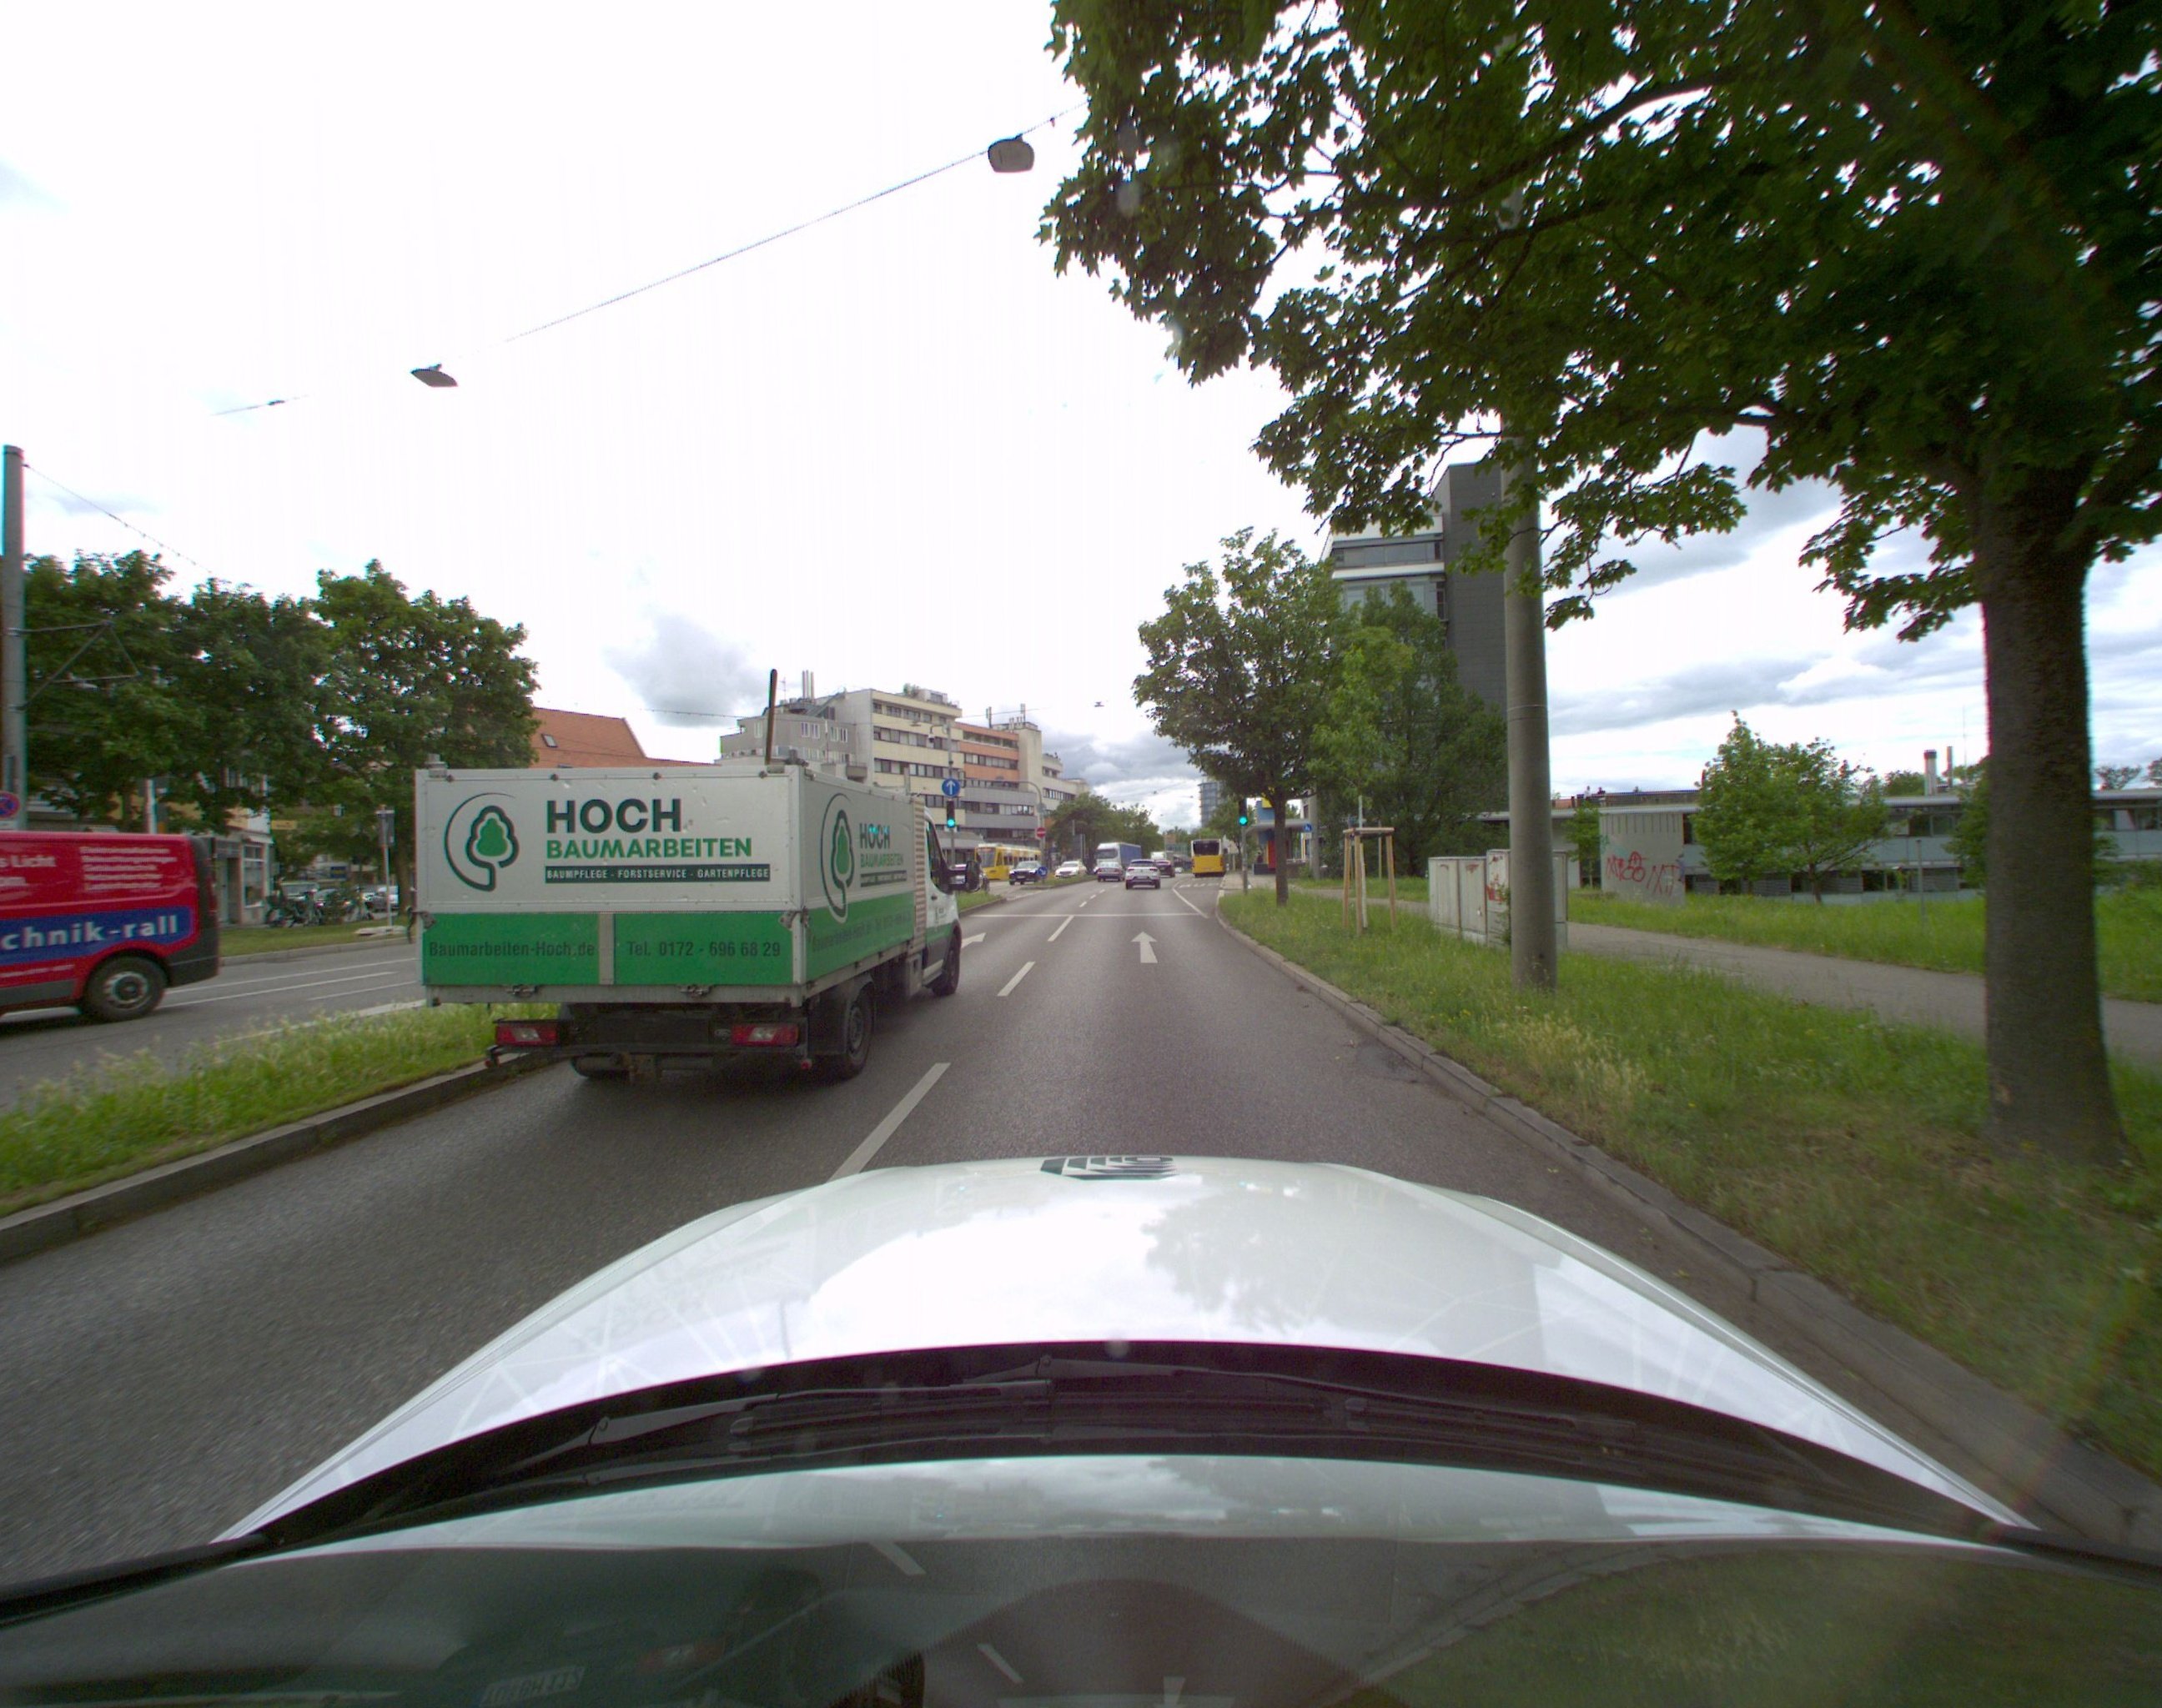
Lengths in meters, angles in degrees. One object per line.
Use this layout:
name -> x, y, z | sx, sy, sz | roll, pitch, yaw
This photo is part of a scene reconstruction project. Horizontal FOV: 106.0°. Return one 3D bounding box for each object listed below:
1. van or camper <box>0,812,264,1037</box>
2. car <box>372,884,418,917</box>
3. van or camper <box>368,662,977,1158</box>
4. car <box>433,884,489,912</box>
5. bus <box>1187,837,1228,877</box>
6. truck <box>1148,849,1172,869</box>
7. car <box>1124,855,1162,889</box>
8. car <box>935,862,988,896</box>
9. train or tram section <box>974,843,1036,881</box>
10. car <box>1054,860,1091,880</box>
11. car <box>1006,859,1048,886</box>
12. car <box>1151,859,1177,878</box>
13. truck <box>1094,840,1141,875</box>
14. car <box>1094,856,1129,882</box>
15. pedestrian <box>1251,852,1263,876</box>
van or camper -> -10.712, 0.649, 6.968 | 1.985, 2.013, 5.201 | -1, 0, 3
car -> -41.904, 2.800, 49.737 | 1.863, 1.584, 3.563 | -2, 3, -45
van or camper -> -2.580, 0.270, 7.367 | 2.334, 2.661, 5.968 | 0, 1, 2
car -> -41.263, 2.932, 54.200 | 3.948, 1.684, 2.013 | -2, -1, 38
bus -> 11.146, 0.255, 70.964 | 2.934, 3.190, 9.961 | -1, 0, 12
truck -> 12.931, 0.851, 132.333 | 3.064, 3.028, 9.385 | -2, 0, 10
car -> 3.367, 0.916, 43.849 | 1.690, 1.548, 3.747 | 2, 3, 9
car -> -5.377, 1.121, 36.988 | 1.607, 1.446, 3.656 | -2, -1, 3
train or tram section -> -7.299, 0.799, 80.757 | 2.543, 3.411, 13.121 | -2, -1, 11
car -> -0.646, 1.303, 66.022 | 1.952, 1.499, 4.792 | -1, 0, 13
car -> -3.454, 1.194, 53.204 | 1.887, 1.618, 4.284 | -2, -1, 8
car -> 7.245, 1.213, 71.015 | 1.687, 1.516, 3.508 | -1, 1, 15
truck -> 4.911, 0.457, 104.841 | 2.933, 4.080, 16.661 | -1, 0, 13
car -> 2.178, 1.040, 57.531 | 1.688, 1.515, 3.751 | -1, 3, 13
pedestrian -> 13.572, 0.740, 62.781 | 0.707, 1.816, 0.764 | -1, -1, 1
